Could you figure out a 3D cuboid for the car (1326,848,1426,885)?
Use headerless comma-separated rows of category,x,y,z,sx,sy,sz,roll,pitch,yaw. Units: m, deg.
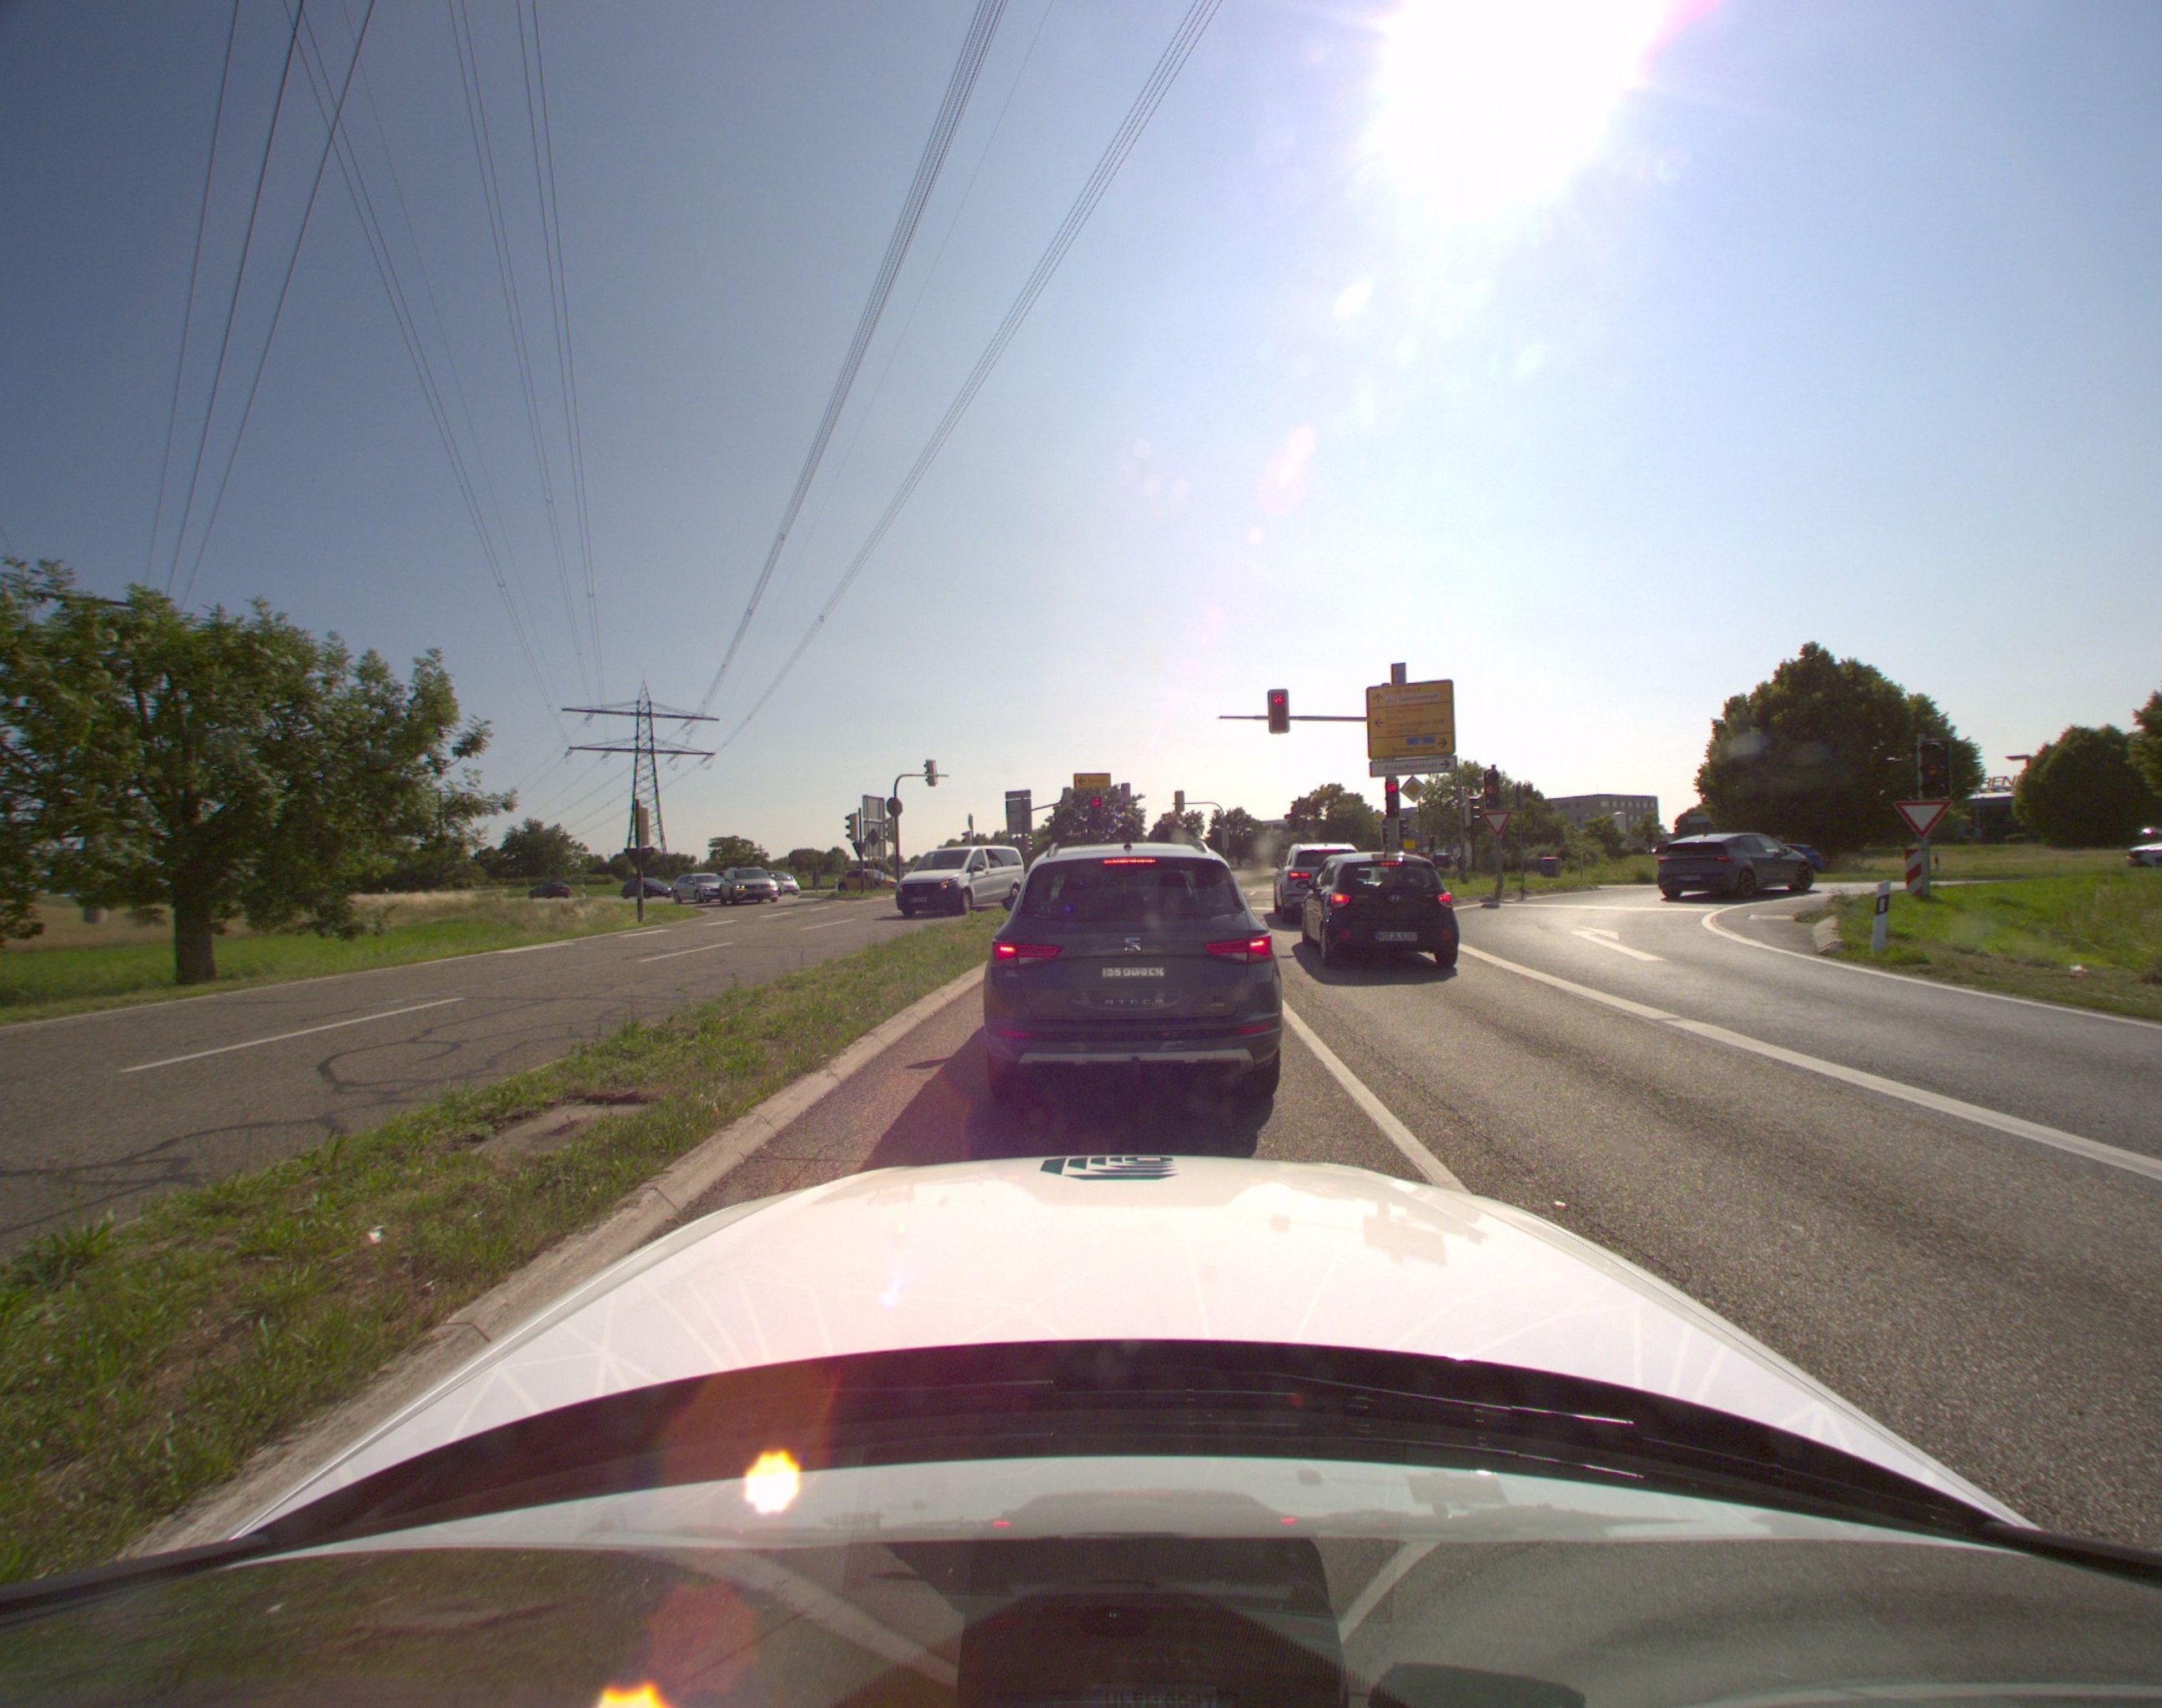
car,12.472,0.532,34.471,3.866,1.465,1.732,-1,-1,21

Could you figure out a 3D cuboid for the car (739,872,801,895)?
car,-22.660,2.144,59.364,4.280,1.519,1.819,-2,-1,28

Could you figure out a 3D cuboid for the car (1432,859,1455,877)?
car,36.166,1.383,81.293,1.859,1.673,3.792,0,-1,27

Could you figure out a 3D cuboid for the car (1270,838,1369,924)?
car,5.124,0.546,17.912,1.623,1.677,3.759,-1,0,9

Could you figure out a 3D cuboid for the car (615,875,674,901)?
car,-30.553,2.387,56.997,3.949,1.651,1.831,-2,-1,30

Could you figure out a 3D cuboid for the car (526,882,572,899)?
car,-48.198,3.333,73.772,4.051,1.416,1.727,-2,-1,28

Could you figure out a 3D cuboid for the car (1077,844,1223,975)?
car,0.923,0.680,11.589,1.735,1.569,3.627,0,-1,3

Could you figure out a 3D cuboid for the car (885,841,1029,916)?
car,-3.392,0.615,23.469,1.977,1.918,4.972,-1,0,19

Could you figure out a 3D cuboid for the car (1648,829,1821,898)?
car,16.189,0.196,20.158,4.108,1.517,1.763,-2,0,-27

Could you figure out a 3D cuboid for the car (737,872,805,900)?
car,-19.407,2.003,50.952,3.949,1.651,1.831,-2,-1,30

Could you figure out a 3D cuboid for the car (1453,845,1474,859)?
car,48.269,-0.250,102.636,1.699,1.819,3.801,0,-1,36

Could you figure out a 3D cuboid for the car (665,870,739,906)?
car,-18.943,1.693,40.656,3.948,1.651,1.832,-2,-1,40

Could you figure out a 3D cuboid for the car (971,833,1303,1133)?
car,0.354,0.689,6.092,1.735,1.569,3.626,0,-1,2

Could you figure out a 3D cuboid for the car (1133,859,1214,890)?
car,4.905,1.103,43.371,3.831,1.519,1.819,-2,-1,28

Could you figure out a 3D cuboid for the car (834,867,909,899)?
car,-11.928,1.652,46.378,3.949,1.651,1.831,-2,-1,30

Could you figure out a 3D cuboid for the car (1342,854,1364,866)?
car,35.707,0.766,106.800,1.695,1.549,3.634,0,-1,37

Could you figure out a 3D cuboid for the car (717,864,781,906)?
car,-14.443,1.315,35.315,1.827,1.651,3.958,-1,-1,-33

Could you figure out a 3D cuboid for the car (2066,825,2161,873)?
car,35.399,-0.200,26.405,3.986,1.519,1.819,-2,-1,28

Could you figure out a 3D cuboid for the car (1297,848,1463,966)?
car,4.138,0.656,11.741,1.623,1.448,3.303,-1,0,9

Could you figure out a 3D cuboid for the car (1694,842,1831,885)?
car,26.334,0.367,31.648,3.830,1.519,1.819,-2,-1,32

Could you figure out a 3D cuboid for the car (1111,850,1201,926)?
car,1.697,0.681,17.691,1.732,1.484,3.631,0,-1,7
